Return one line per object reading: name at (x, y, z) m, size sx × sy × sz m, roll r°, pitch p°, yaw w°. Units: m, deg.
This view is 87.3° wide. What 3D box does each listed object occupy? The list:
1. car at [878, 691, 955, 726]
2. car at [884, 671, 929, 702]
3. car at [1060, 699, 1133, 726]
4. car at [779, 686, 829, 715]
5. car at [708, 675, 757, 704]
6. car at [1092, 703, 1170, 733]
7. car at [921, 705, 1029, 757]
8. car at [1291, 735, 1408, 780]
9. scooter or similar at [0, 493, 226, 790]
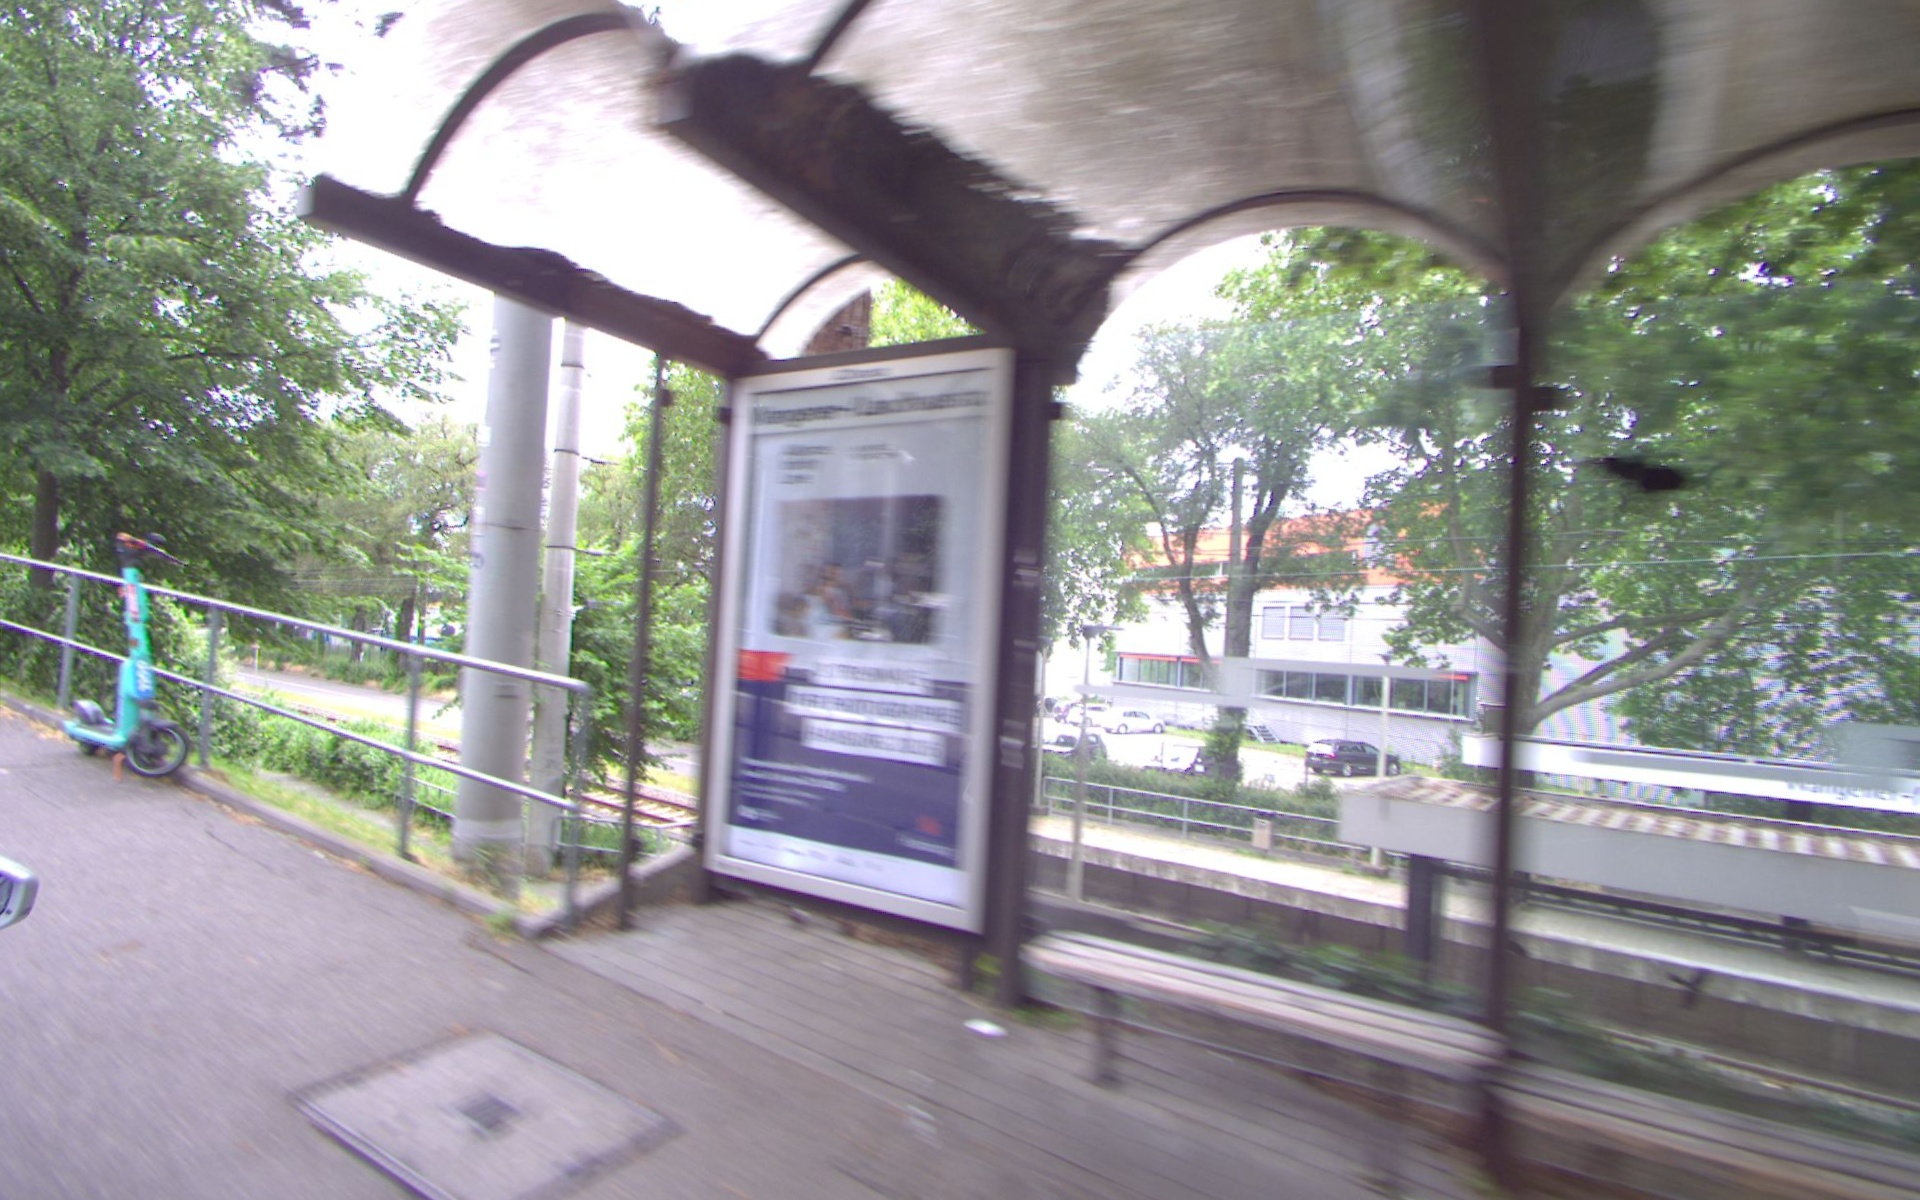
car at (-2.714, 6.791, 62.875) m, size 4.288 × 1.737 × 1.989 m, roll 7°, pitch -2°, yaw -25°
car at (-4.008, 6.426, 74.933) m, size 1.974 × 1.832 × 3.980 m, roll 6°, pitch -2°, yaw -24°
car at (8.903, 7.324, 65.657) m, size 4.279 × 1.487 × 1.991 m, roll 2°, pitch 0°, yaw -22°
car at (-11.070, 7.052, 71.051) m, size 1.978 × 1.486 × 4.311 m, roll 7°, pitch -2°, yaw -30°
car at (-15.782, 6.164, 69.575) m, size 1.978 × 1.486 × 4.311 m, roll 7°, pitch -2°, yaw -30°
car at (10.458, 7.177, 61.553) m, size 4.276 × 1.487 × 1.992 m, roll 1°, pitch 0°, yaw -21°
car at (0.702, 5.447, 42.222) m, size 1.972 × 1.813 × 4.562 m, roll 5°, pitch -2°, yaw 40°
car at (17.005, 6.873, 43.979) m, size 4.467 × 1.392 × 1.993 m, roll 7°, pitch -2°, yaw -19°
scooter or similar at (-4.559, 0.175, 5.353) m, size 1.431 × 1.401 × 0.430 m, roll 5°, pitch -1°, yaw 31°
